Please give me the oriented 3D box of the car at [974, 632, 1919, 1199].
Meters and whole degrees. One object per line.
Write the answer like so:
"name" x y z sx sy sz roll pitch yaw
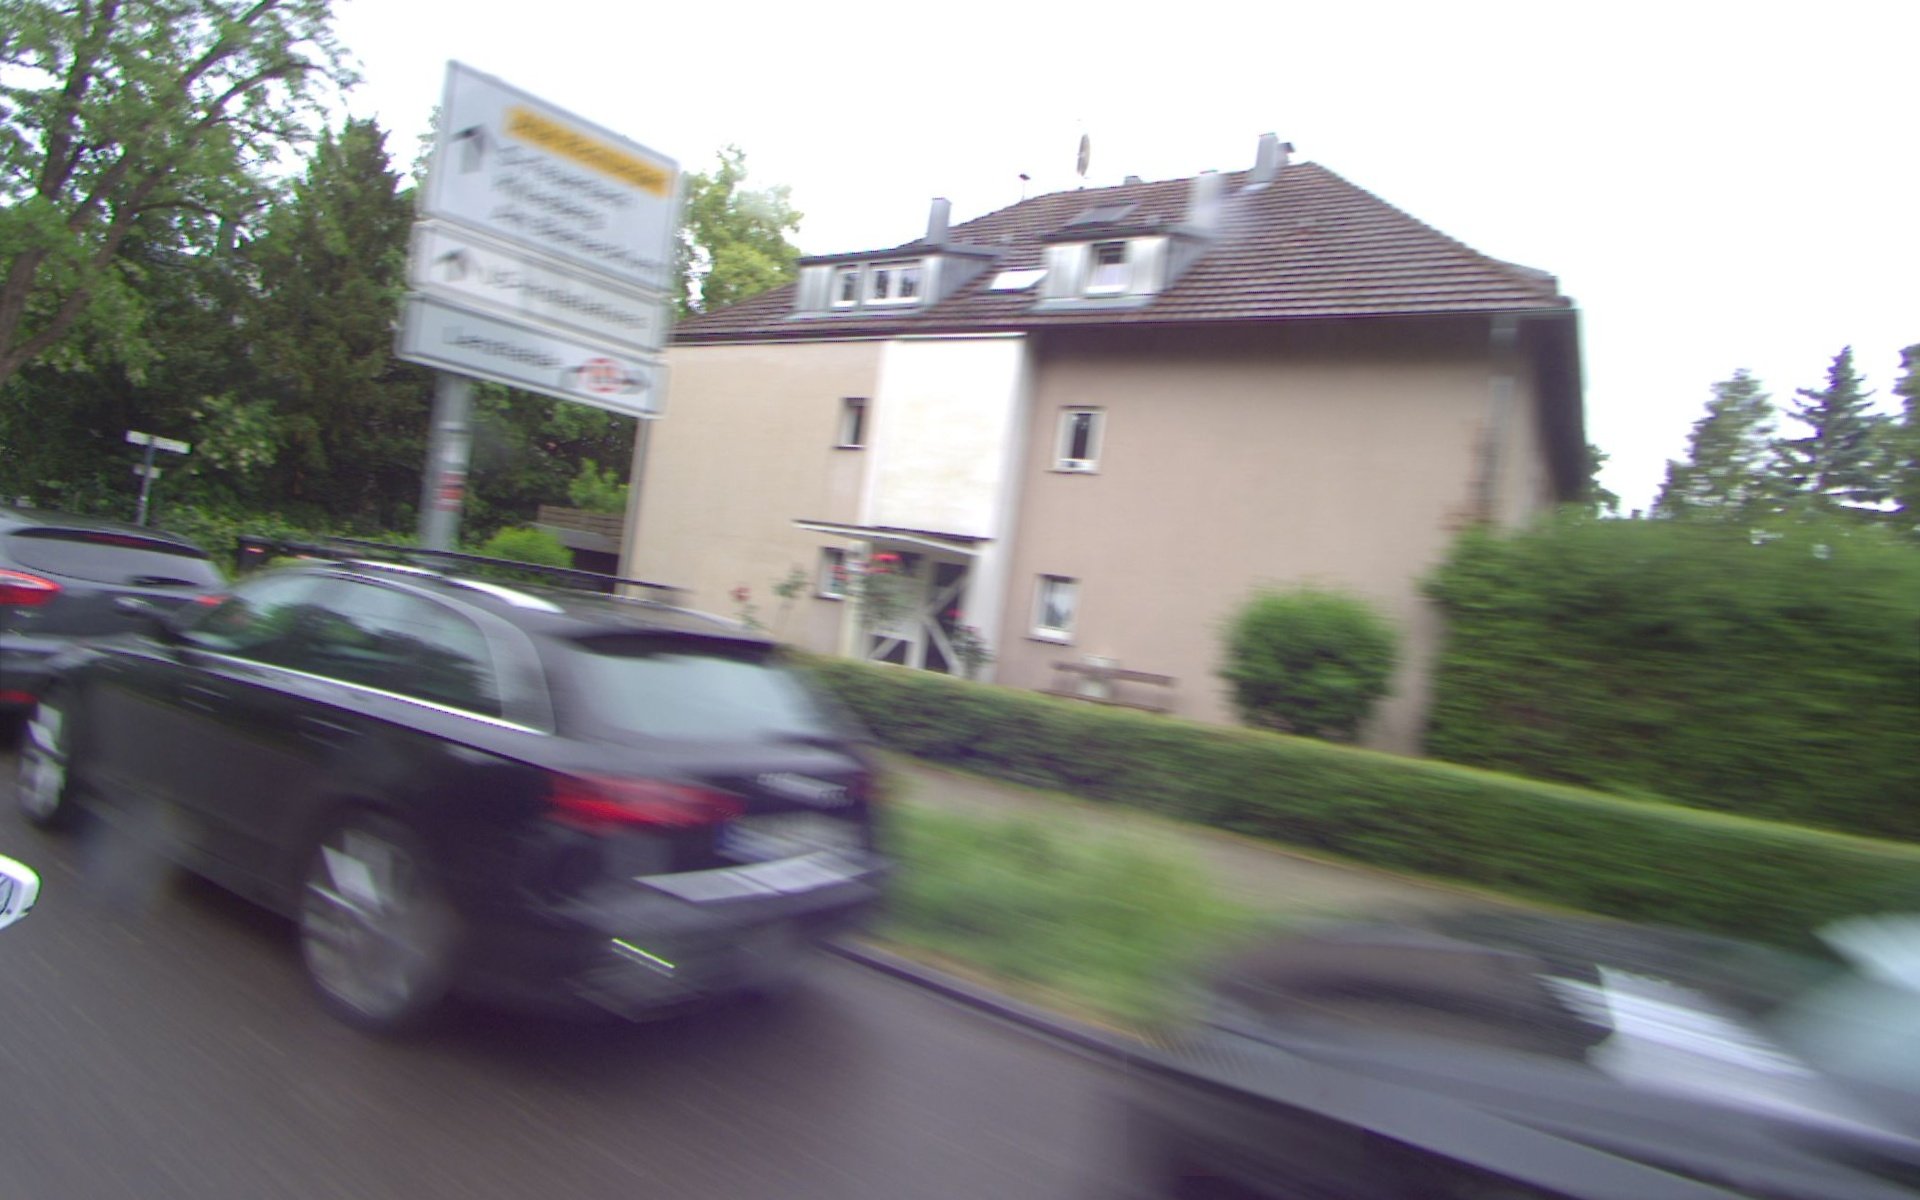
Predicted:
"car" 2.329 1.128 1.607 4.336 1.484 1.621 7 -2 31

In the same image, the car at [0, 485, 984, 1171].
"car" -2.450 0.534 4.577 4.743 1.543 1.757 7 -2 32

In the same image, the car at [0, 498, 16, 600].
"car" -11.489 -0.548 10.358 3.703 1.489 1.575 7 -2 32

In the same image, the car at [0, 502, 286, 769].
"car" -6.692 0.089 7.240 3.881 1.487 1.620 7 -2 35
